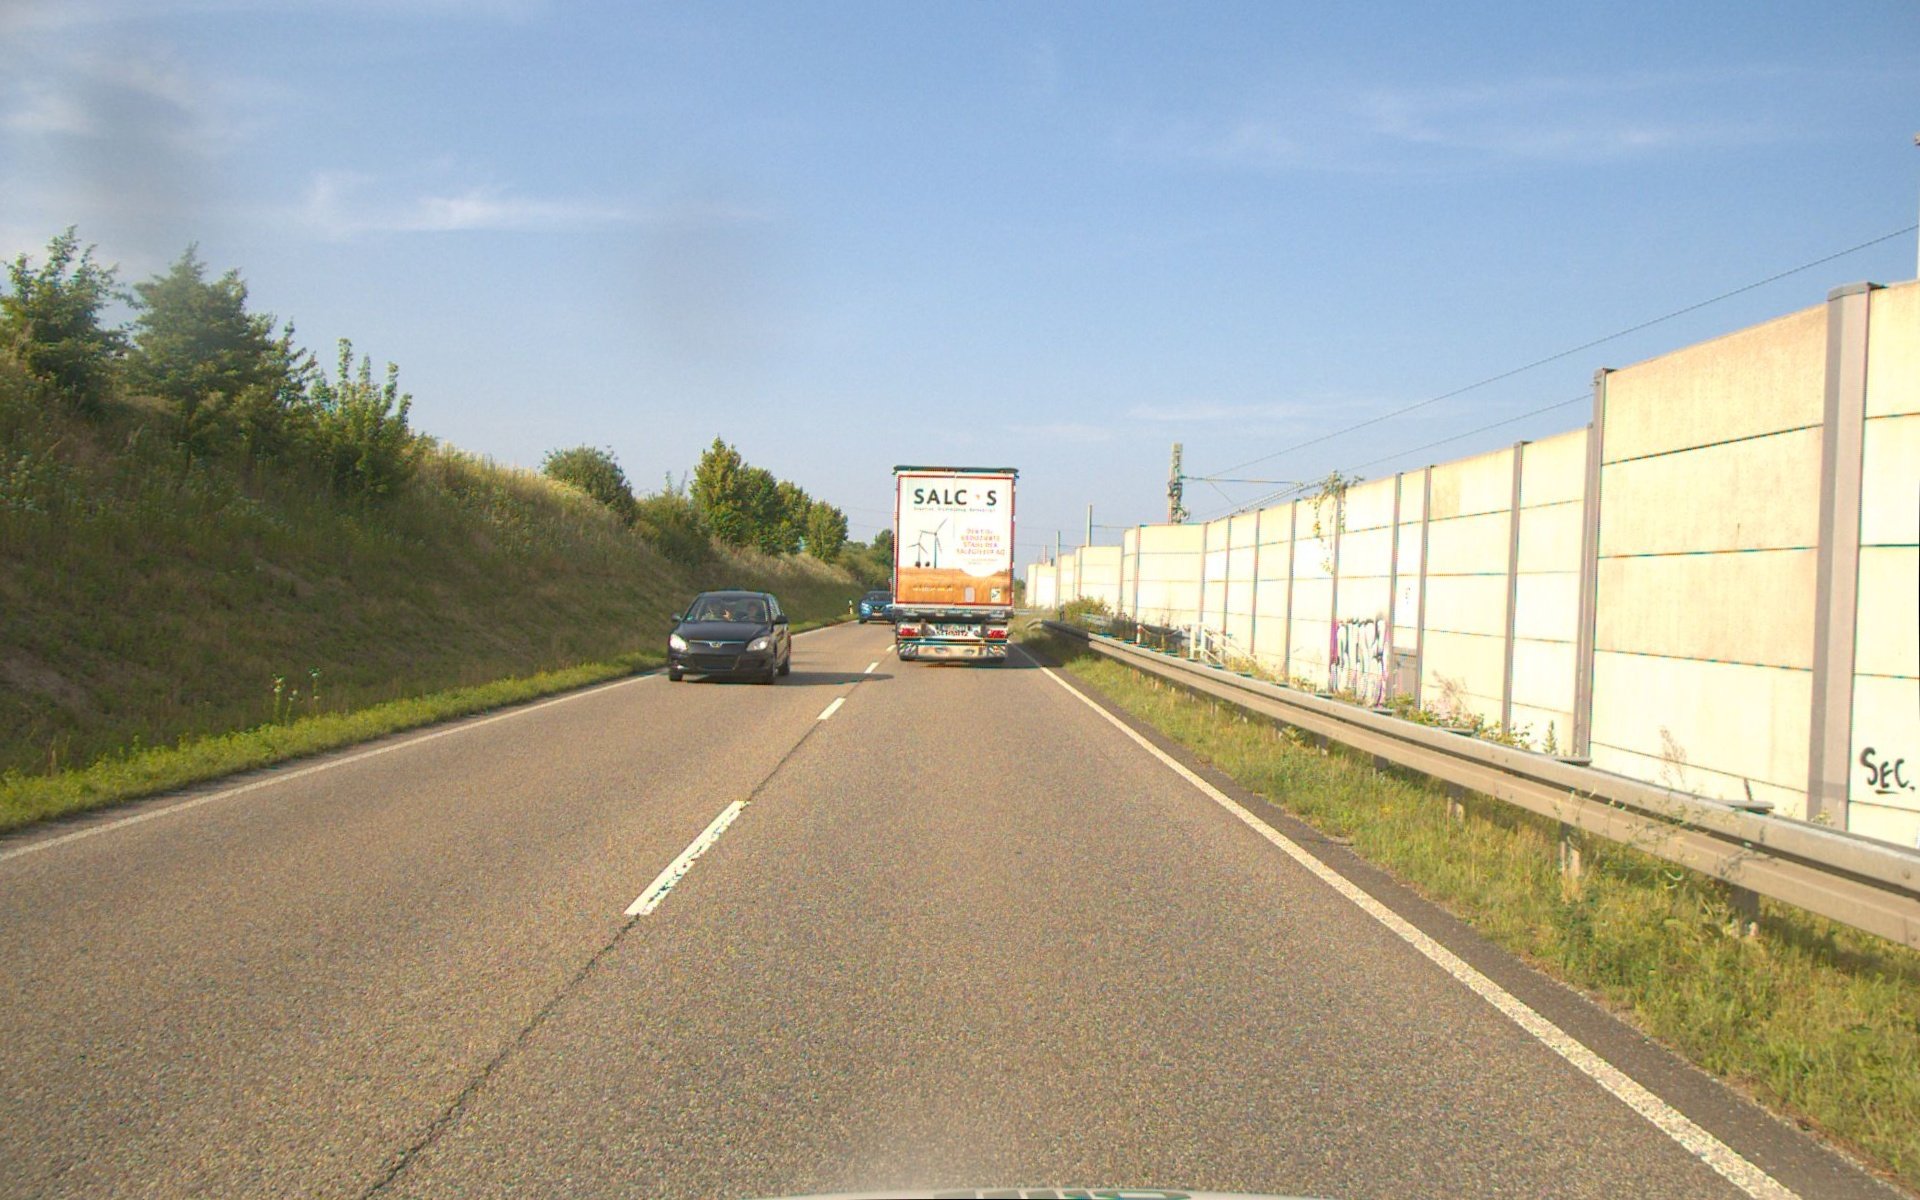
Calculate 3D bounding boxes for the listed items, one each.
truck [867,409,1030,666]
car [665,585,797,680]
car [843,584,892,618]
[{"bbox_3d":[-0.269,-1.313,39.804,3.223,5.179,12.036,1,0,0],"label":"truck"},{"bbox_3d":[-3.823,0.502,28.212,1.681,1.479,4.018,1,0,0],"label":"car"},{"bbox_3d":[-4.498,0.045,81.139,2.097,1.601,5.339,1,0,-1],"label":"car"}]
